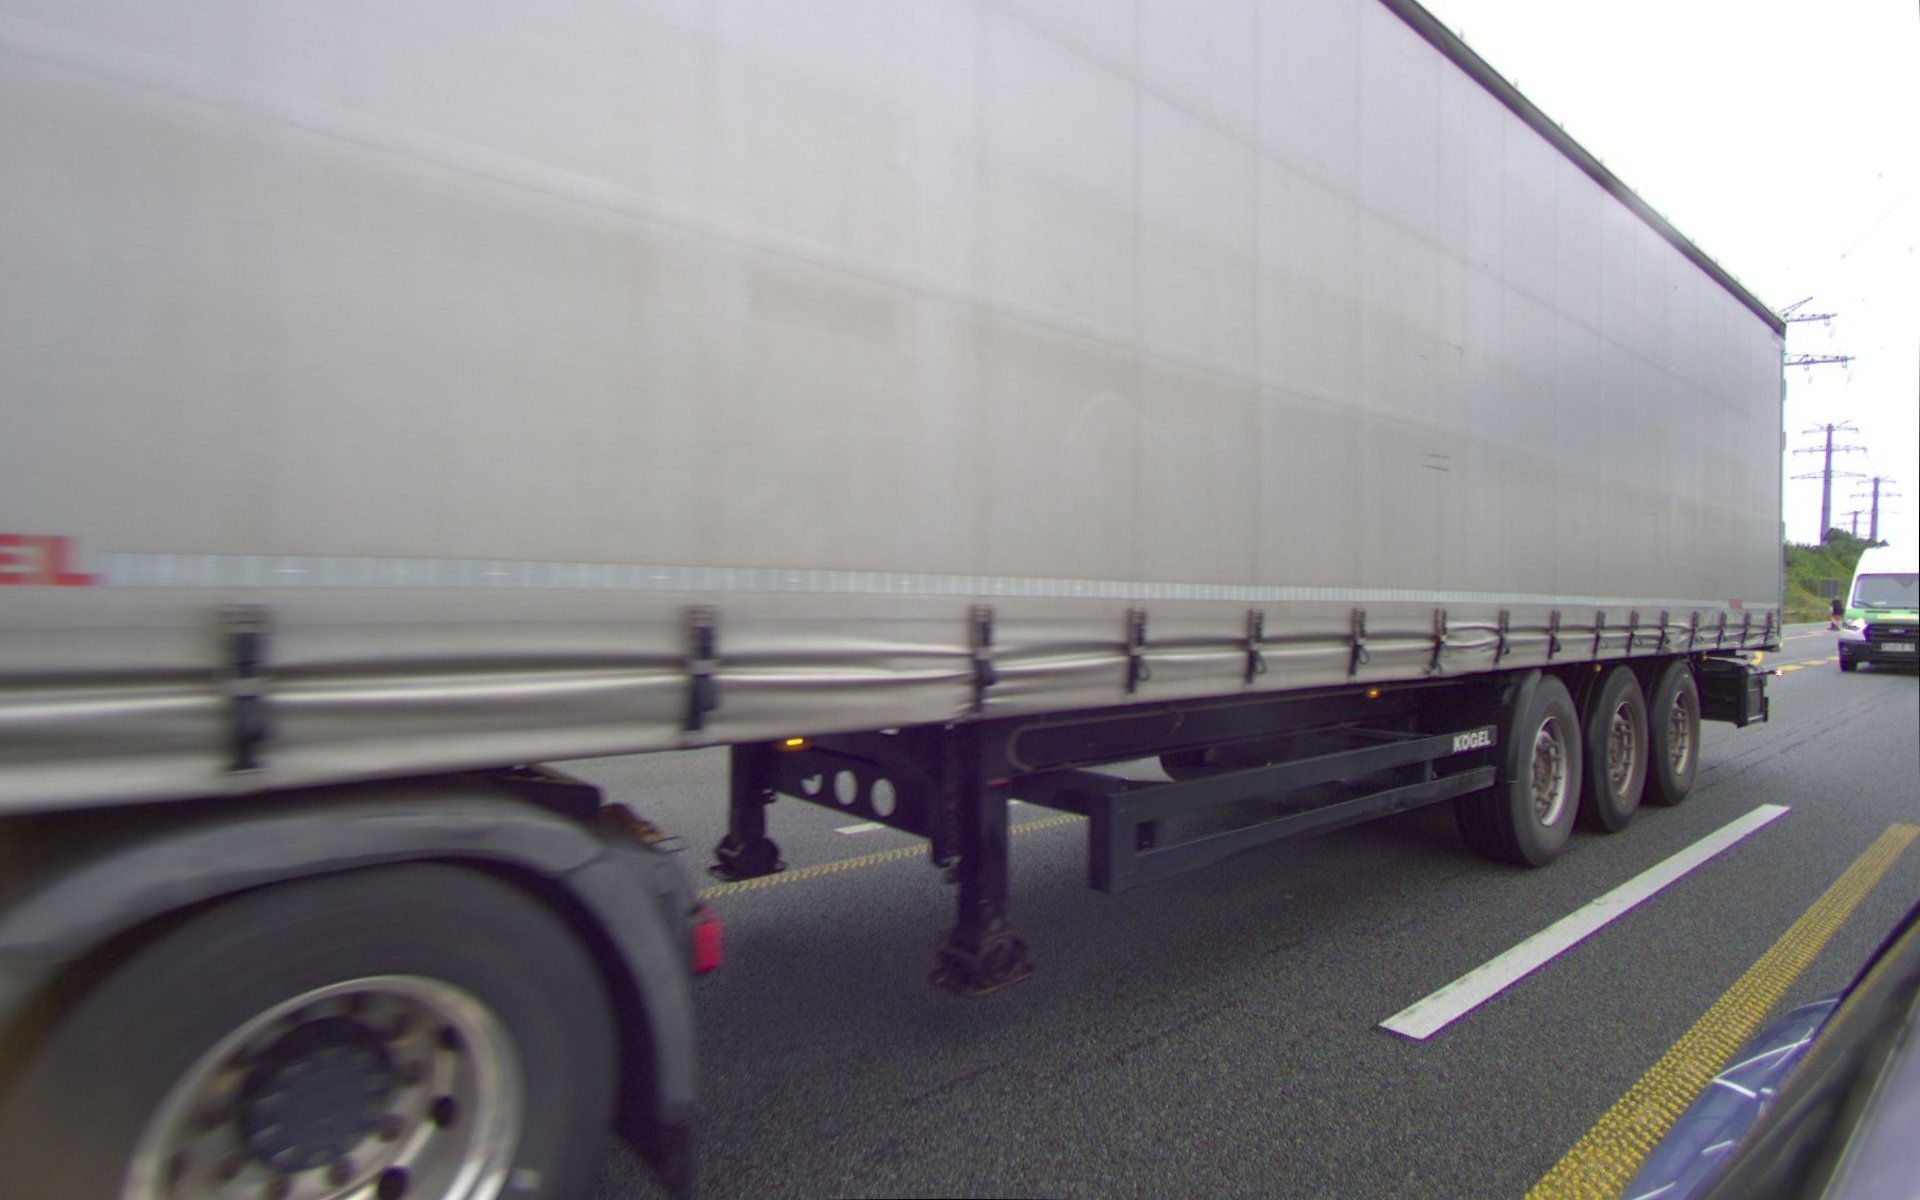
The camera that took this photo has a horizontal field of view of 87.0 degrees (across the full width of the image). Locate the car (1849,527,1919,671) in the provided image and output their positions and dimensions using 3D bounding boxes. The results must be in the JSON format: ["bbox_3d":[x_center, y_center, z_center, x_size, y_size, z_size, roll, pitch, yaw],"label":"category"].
[{"bbox_3d":[20.945,-0.020,21.805,5.656,2.817,1.997,0,1,-42],"label":"car"}]

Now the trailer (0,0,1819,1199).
[{"bbox_3d":[1.789,-0.728,5.771,13.491,4.198,2.711,0,1,-41],"label":"trailer"}]

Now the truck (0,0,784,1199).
[{"bbox_3d":[-3.361,-0.720,1.350,5.591,4.190,2.711,0,1,-41],"label":"truck"}]
